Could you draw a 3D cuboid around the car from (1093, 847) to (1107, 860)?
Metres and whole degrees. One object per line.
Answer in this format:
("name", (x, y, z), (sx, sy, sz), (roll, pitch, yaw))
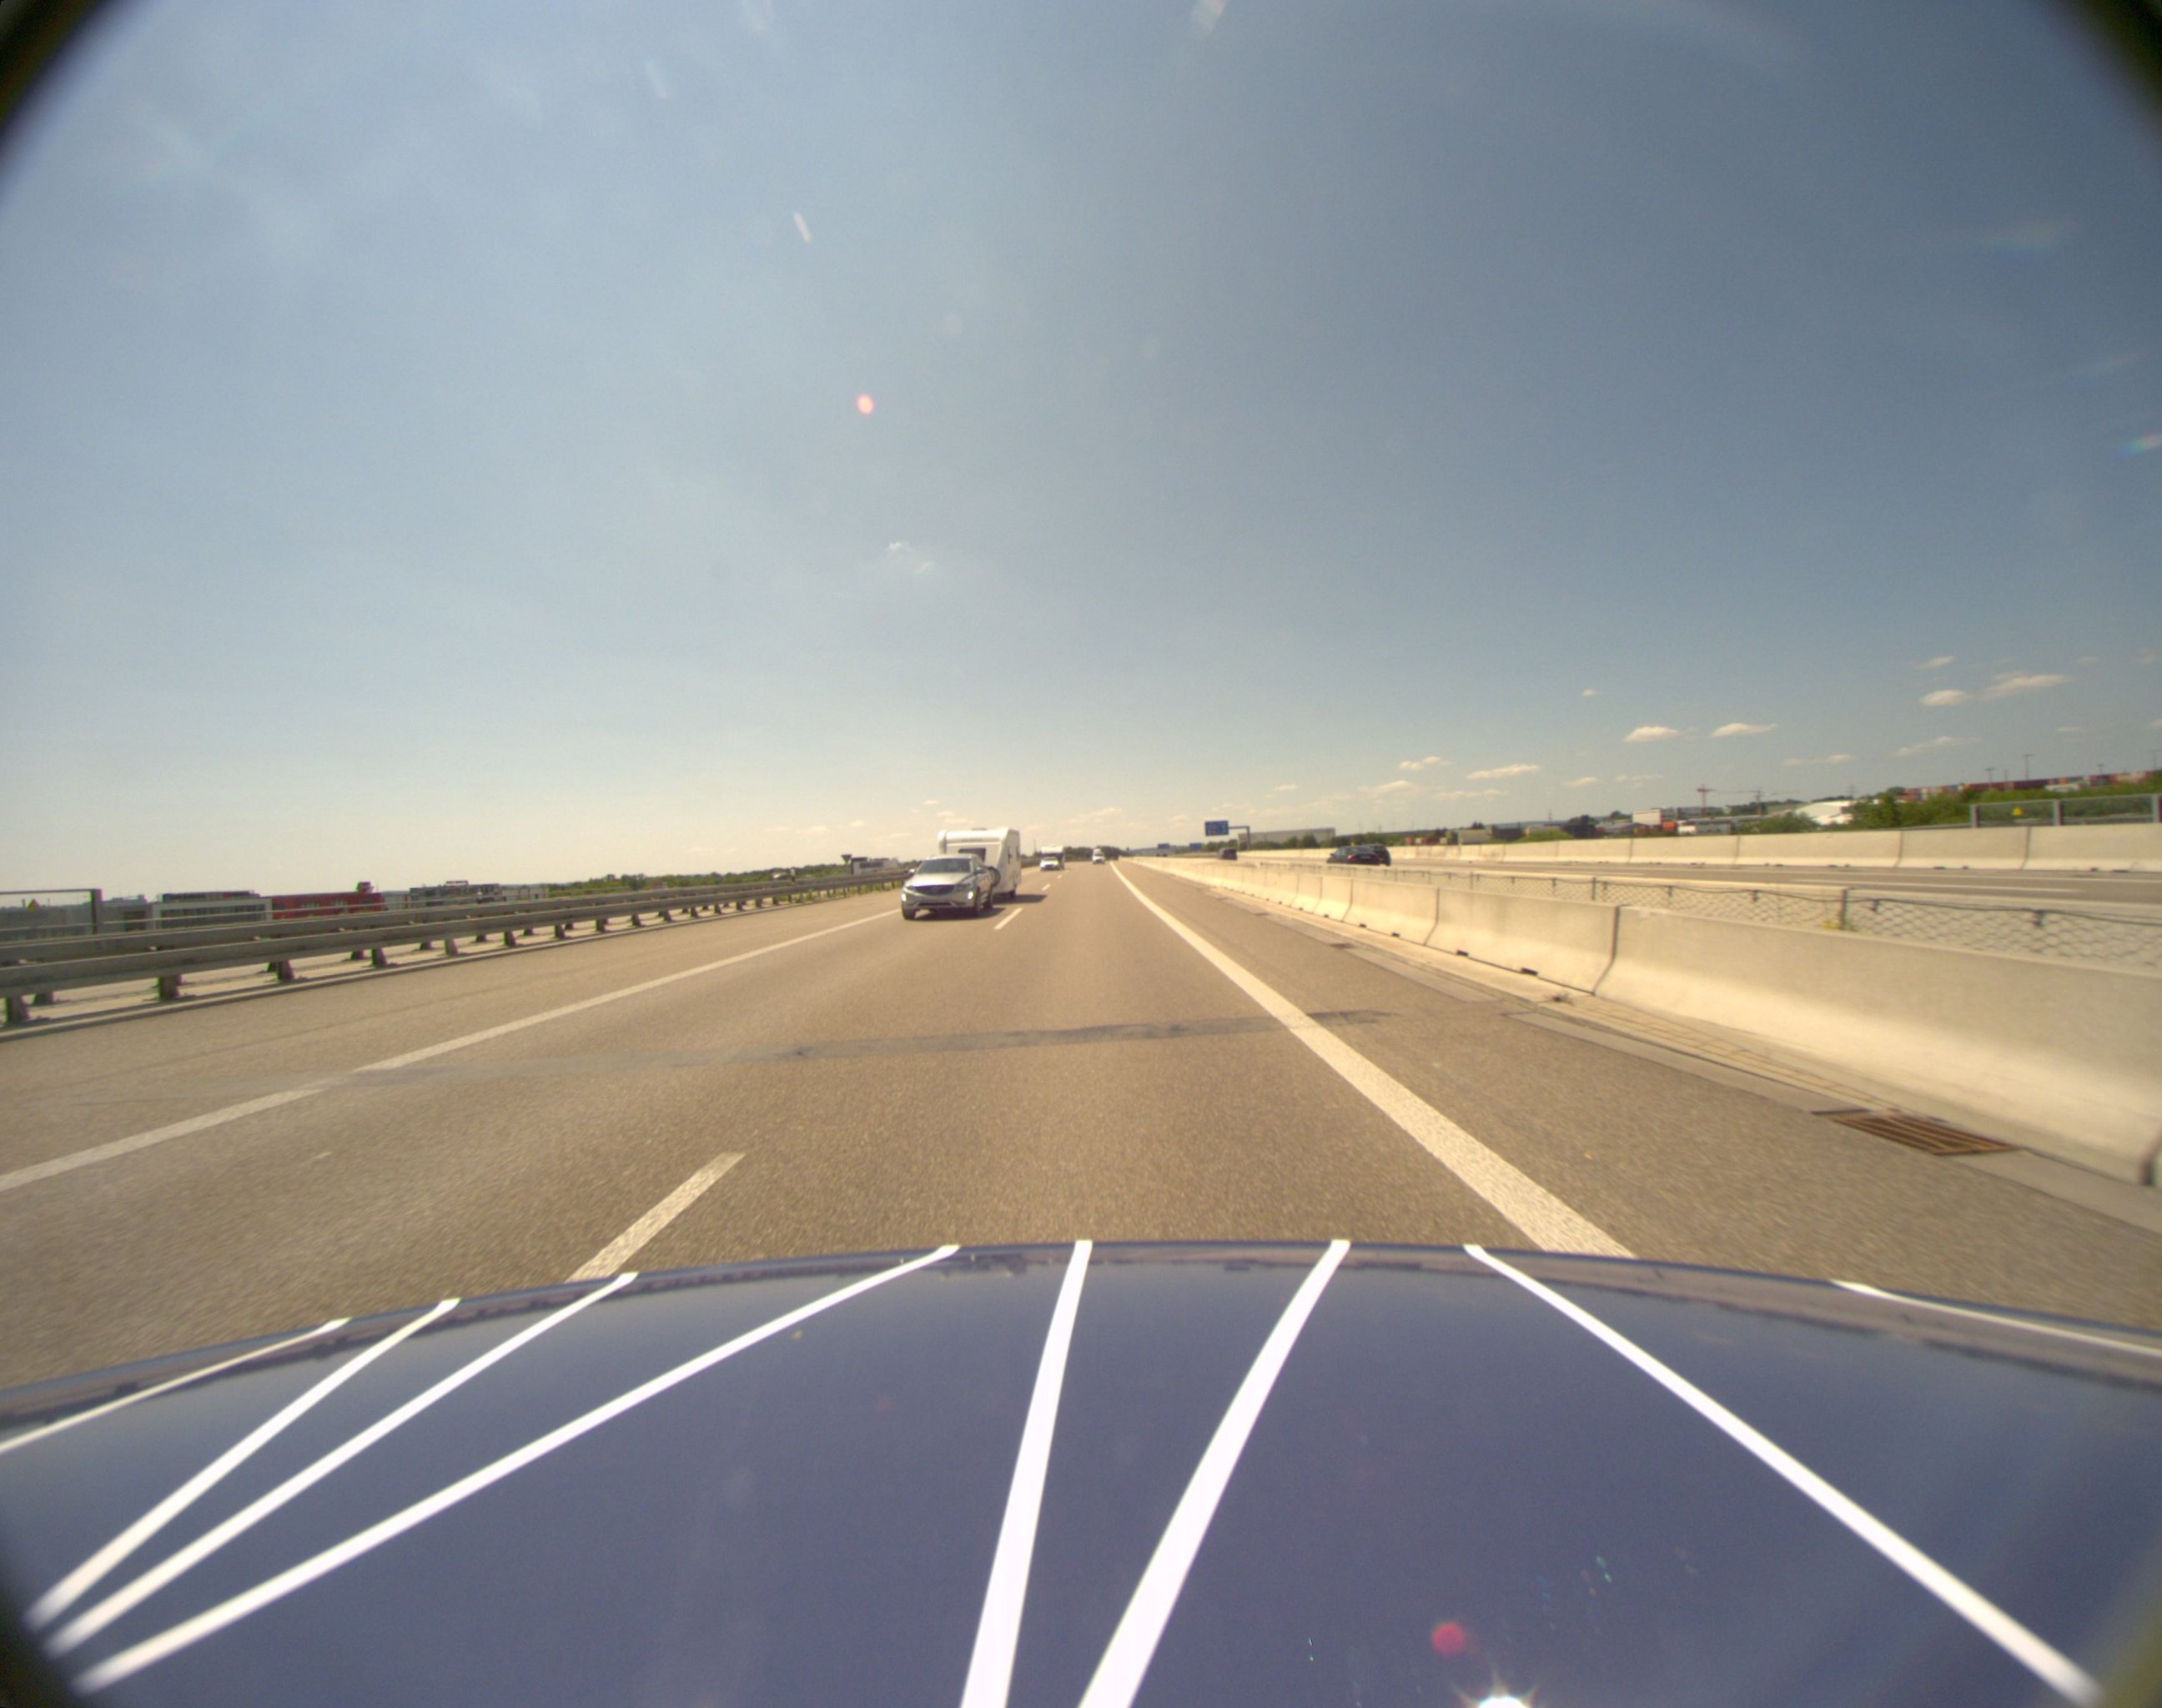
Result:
("car", (3.035, -0.104, 120.252), (1.998, 2.002, 4.000), (-2, 0, 2))

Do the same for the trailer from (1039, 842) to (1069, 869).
("trailer", (-2.921, 0.197, 83.831), (2.500, 2.686, 7.157), (-2, -1, 4))

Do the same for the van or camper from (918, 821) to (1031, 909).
("van or camper", (-3.480, 0.371, 26.919), (2.518, 2.577, 7.819), (-2, -1, 2))

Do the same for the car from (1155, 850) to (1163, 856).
("car", (21.750, -0.336, 211.555), (1.917, 1.412, 4.908), (-2, 0, 1))

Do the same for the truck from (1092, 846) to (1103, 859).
("truck", (3.722, -0.392, 171.179), (2.168, 2.797, 6.490), (-2, 0, 2))

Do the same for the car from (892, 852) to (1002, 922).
("car", (-3.477, 0.800, 20.685), (1.885, 1.613, 4.905), (-2, 0, 2))

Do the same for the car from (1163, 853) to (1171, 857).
("car", (26.567, 0.308, 234.296), (1.915, 1.411, 4.551), (-2, 0, 2))

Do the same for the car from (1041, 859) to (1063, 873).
("car", (-2.922, 1.259, 78.440), (1.872, 1.351, 3.674), (-1, 0, 4))

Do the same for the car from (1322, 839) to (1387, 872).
("car", (14.681, 0.065, 41.054), (1.998, 1.659, 4.650), (-2, 0, 3))

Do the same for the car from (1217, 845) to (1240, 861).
("car", (17.124, -0.142, 88.403), (1.889, 1.676, 5.016), (-2, 0, 3))

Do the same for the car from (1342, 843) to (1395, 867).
("car", (18.806, 0.047, 49.910), (1.914, 1.450, 4.284), (-2, 0, 1))
